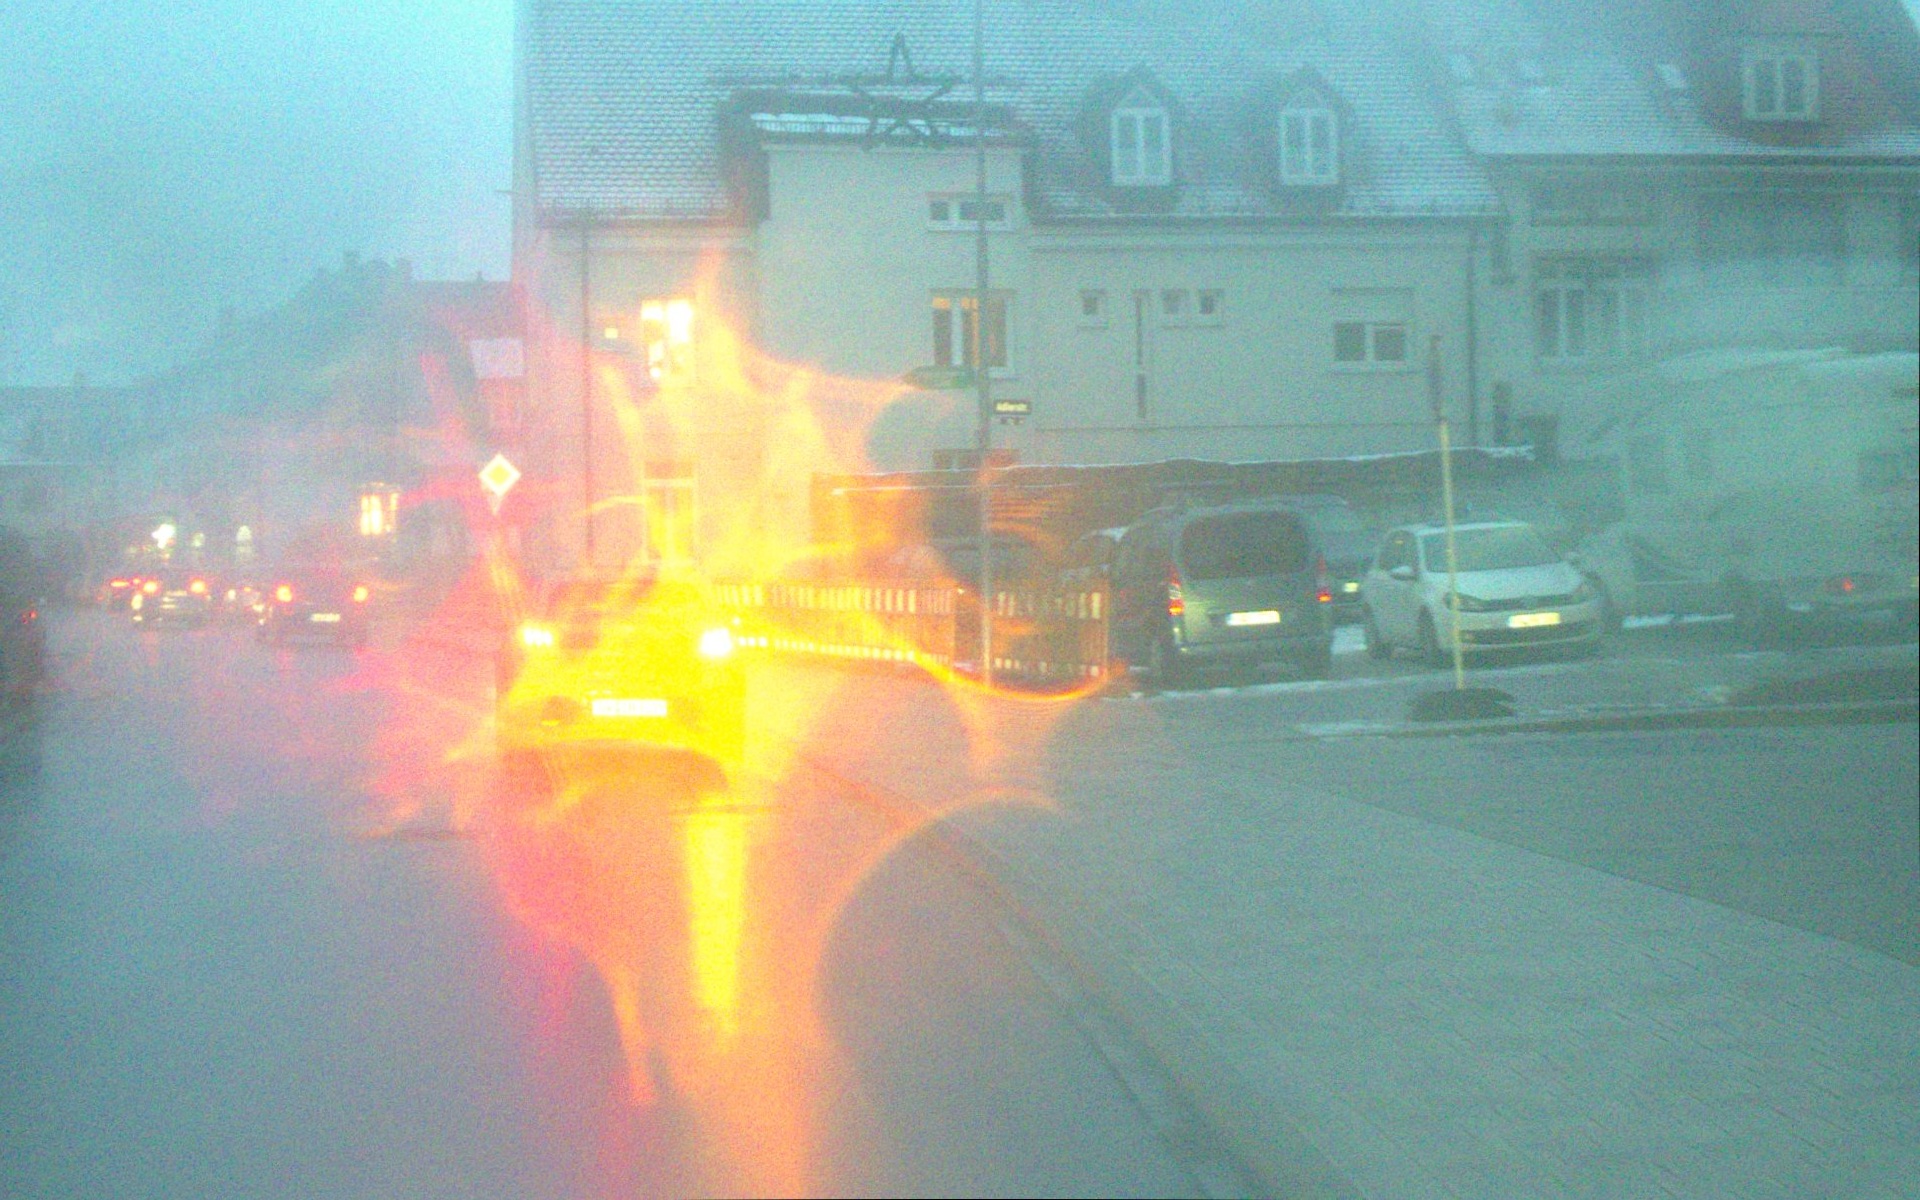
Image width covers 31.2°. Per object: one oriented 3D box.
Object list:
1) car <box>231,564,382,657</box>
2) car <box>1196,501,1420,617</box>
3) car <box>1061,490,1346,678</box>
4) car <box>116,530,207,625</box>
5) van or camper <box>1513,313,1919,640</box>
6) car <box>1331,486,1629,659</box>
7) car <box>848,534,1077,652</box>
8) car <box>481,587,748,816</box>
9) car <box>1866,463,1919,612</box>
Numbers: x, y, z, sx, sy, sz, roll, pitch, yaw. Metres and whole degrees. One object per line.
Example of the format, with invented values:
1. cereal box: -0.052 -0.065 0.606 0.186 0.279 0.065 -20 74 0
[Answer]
1. car: -11.680 0.167 61.284 1.993 1.583 4.001 0 1 -20
2. car: 4.774 -0.602 47.858 1.822 1.457 4.550 -3 2 -11
3. car: 2.463 -0.193 35.932 1.993 1.759 4.351 -3 1 -8
4. car: -18.942 -0.538 81.474 1.993 2.195 4.001 0 1 -14
5. van or camper: 8.515 -1.265 36.187 2.650 3.037 6.736 -4 2 -14
6. car: 5.344 -0.259 35.877 1.993 1.605 4.175 -3 0 -6
7. car: -0.014 -0.123 45.182 1.886 1.457 3.634 -1 1 -19
8. car: -2.562 0.688 25.551 1.814 1.528 4.001 0 1 -6
9. car: 11.156 -0.734 35.583 1.788 1.548 4.001 -7 2 -10
